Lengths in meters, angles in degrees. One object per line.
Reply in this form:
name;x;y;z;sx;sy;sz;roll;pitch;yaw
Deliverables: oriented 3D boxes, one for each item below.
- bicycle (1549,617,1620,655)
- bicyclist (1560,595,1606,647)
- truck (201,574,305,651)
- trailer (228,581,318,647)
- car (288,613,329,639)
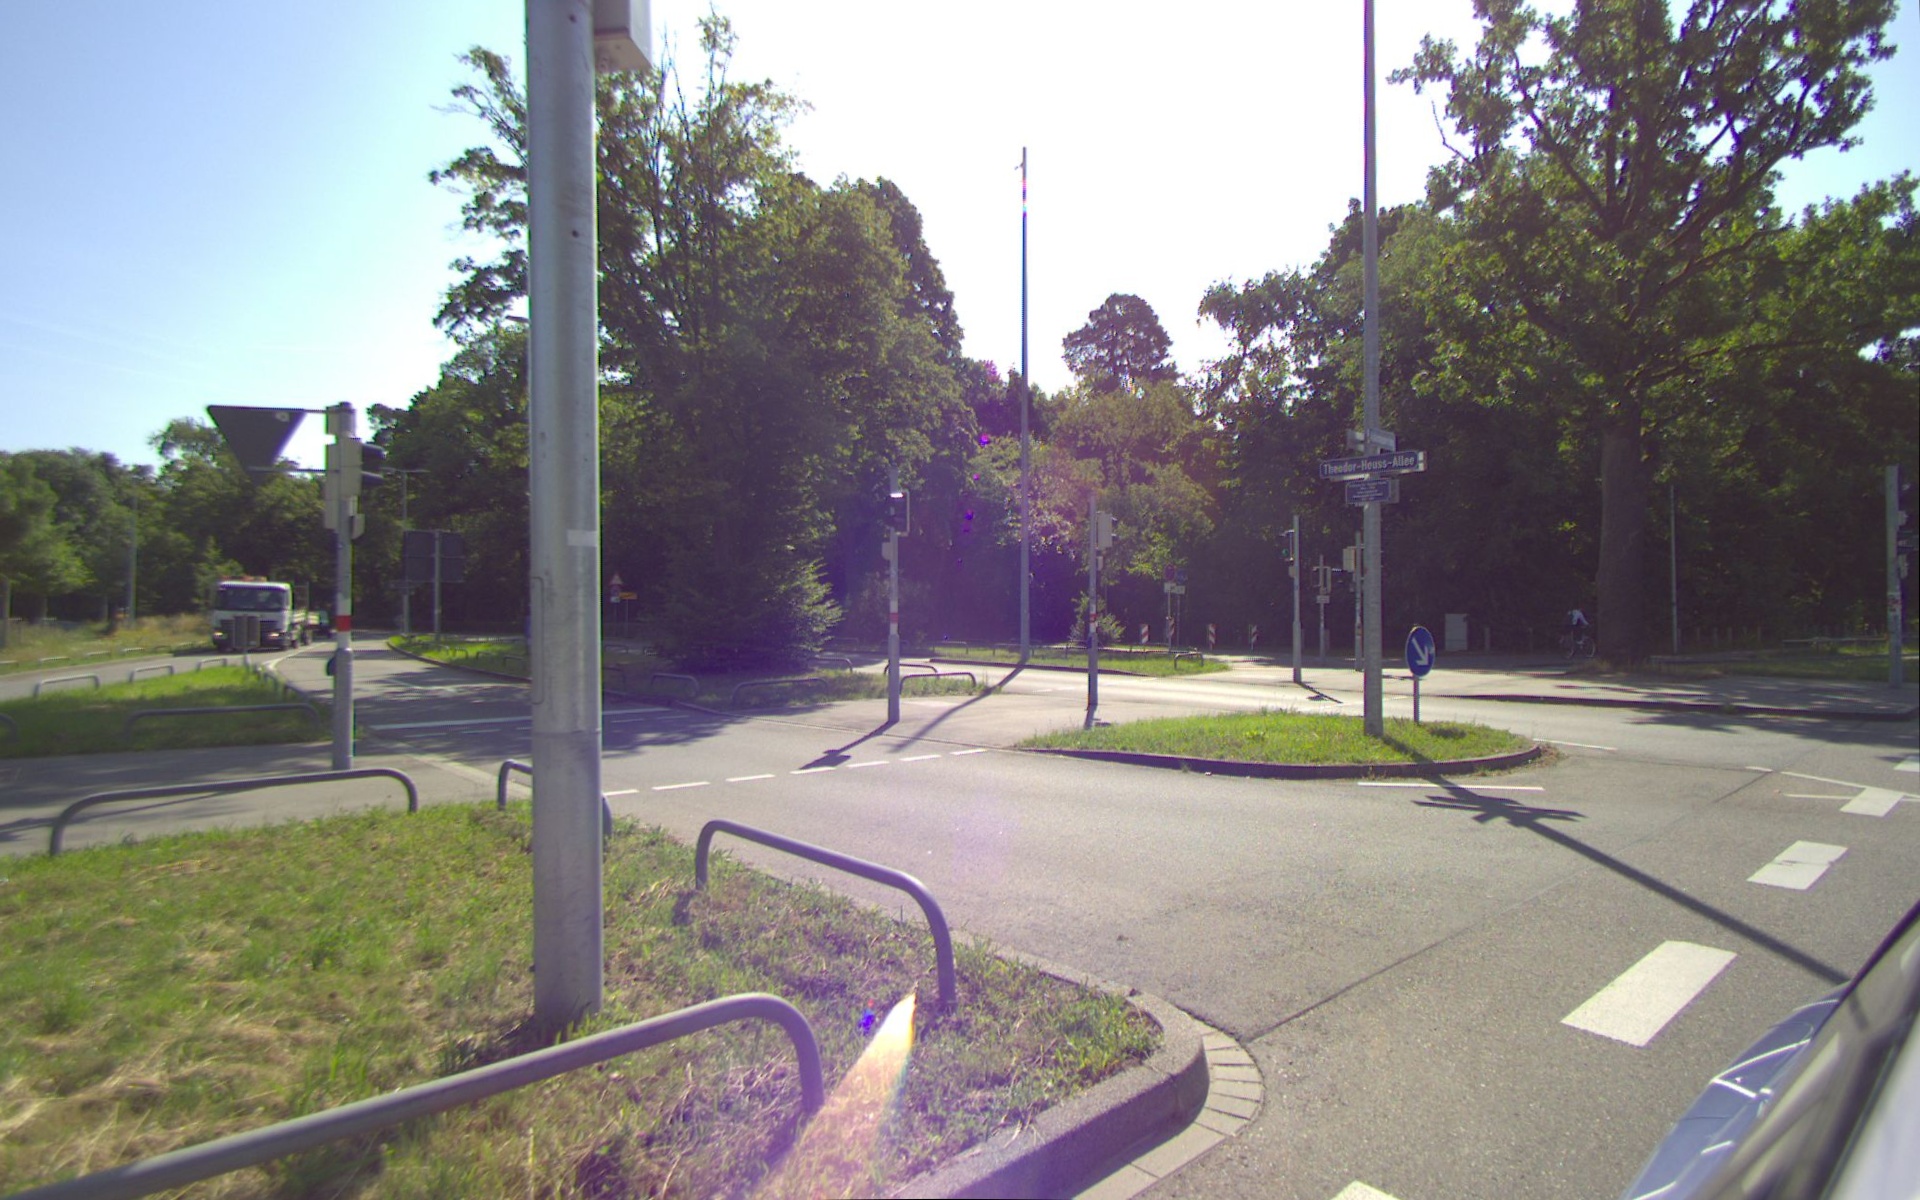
bicycle;20.421;1.158;33.111;2.056;1.215;0.727;0;-1;-14
bicyclist;20.383;0.688;33.121;1.036;1.660;0.727;0;-1;-14
truck;-27.493;0.492;39.607;2.626;2.753;6.209;0;-1;-29
trailer;-30.612;0.623;45.355;2.649;2.722;6.895;0;-1;-29
car;-38.356;1.517;59.648;1.810;1.503;4.003;1;-1;-30
